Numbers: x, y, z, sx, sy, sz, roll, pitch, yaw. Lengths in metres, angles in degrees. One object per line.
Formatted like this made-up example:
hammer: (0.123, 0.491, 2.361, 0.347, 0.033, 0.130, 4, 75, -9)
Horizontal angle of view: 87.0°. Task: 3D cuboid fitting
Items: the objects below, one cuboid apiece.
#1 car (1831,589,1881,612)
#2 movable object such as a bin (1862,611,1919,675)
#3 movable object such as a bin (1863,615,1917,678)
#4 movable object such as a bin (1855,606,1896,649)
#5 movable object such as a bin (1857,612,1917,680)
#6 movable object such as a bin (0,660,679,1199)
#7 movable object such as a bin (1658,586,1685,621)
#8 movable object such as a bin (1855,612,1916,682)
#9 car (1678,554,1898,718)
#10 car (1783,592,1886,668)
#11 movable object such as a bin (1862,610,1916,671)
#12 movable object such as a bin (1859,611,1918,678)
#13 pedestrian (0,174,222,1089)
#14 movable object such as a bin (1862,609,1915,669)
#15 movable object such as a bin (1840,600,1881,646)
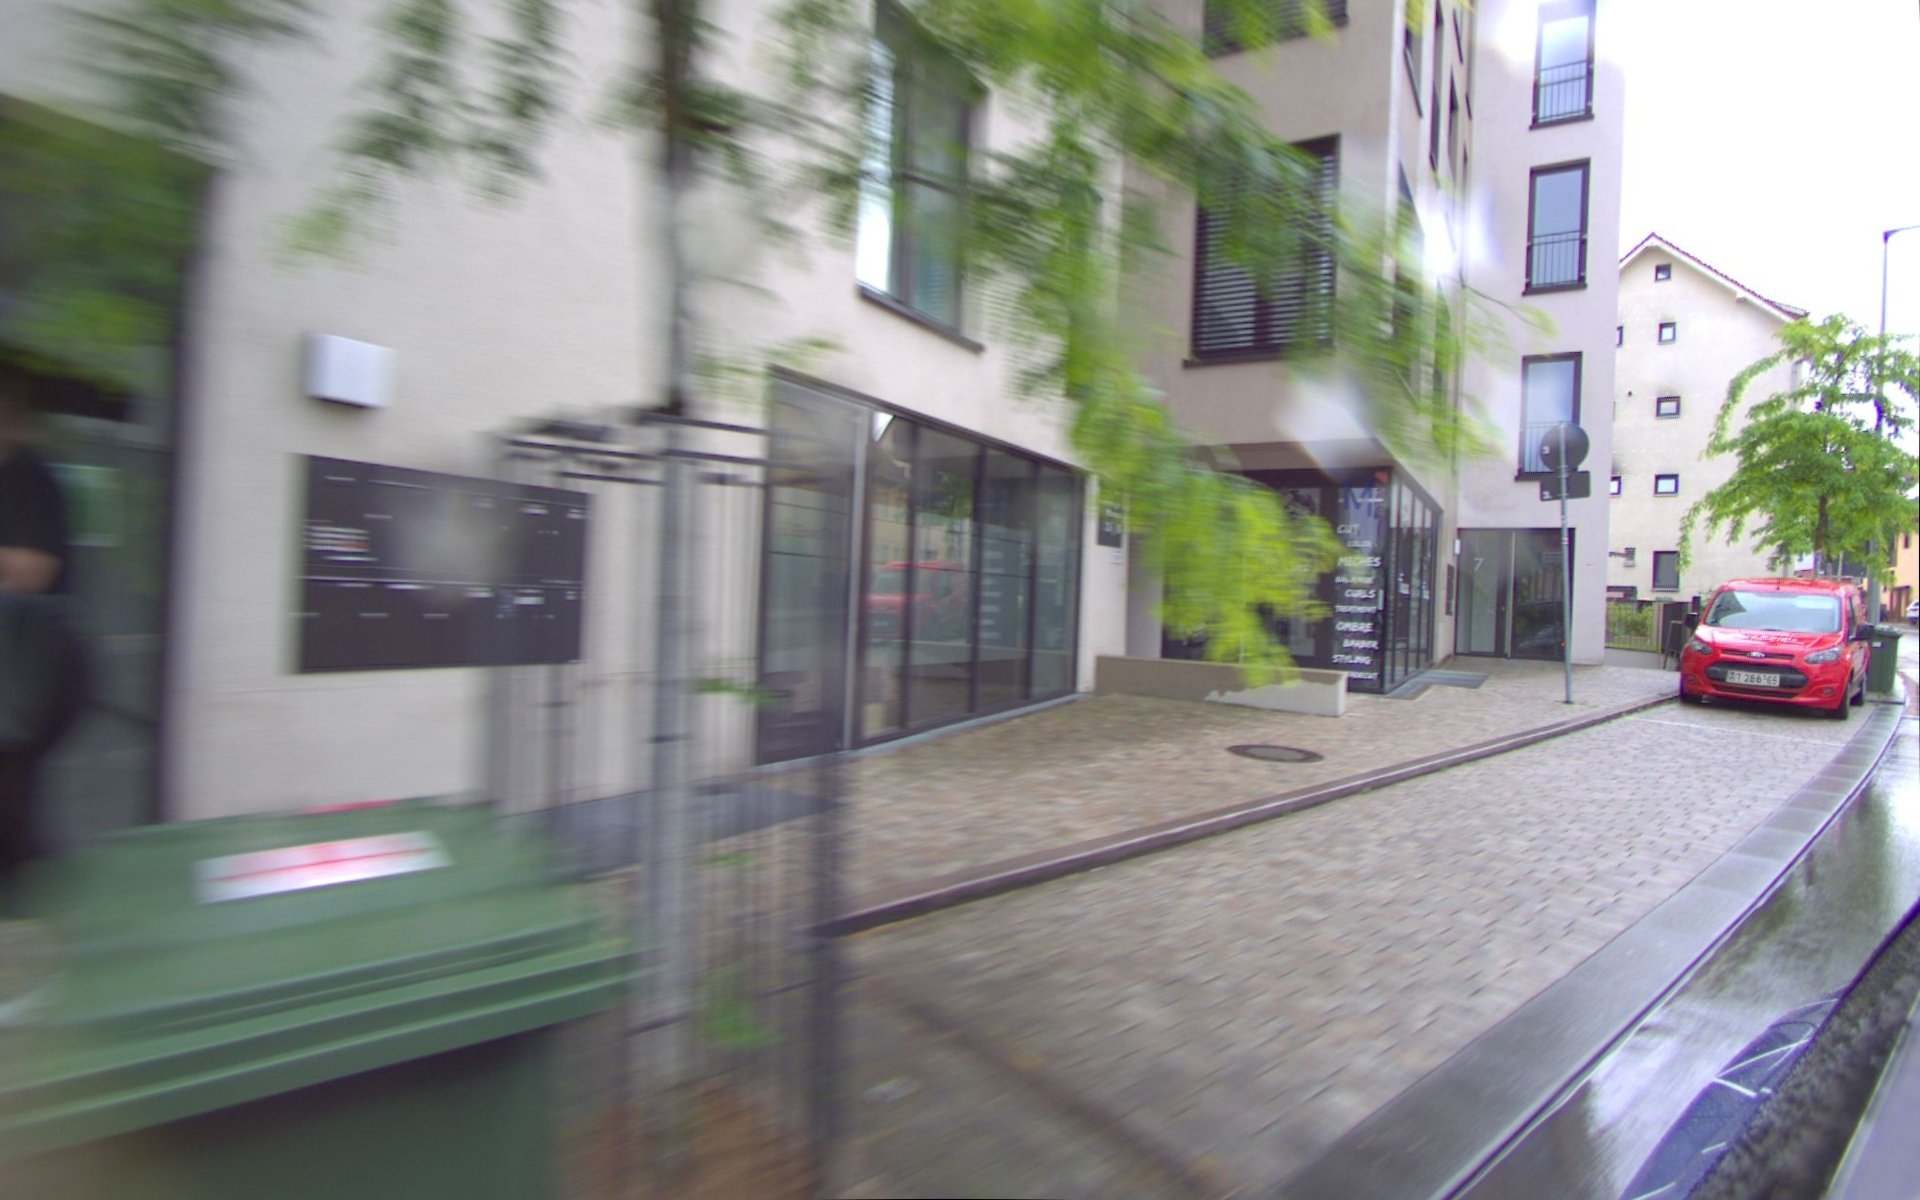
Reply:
car: (64.003, 0.012, 72.355, 1.984, 1.463, 3.956, 1, 1, 31)
movable object such as a bin: (16.936, 0.763, 18.432, 0.709, 1.101, 0.592, 3, 2, 42)
movable object such as a bin: (17.313, 0.853, 18.856, 0.702, 1.101, 0.508, 3, 2, 42)
movable object such as a bin: (26.265, 0.773, 29.037, 0.760, 1.122, 0.798, 6, 4, 40)
movable object such as a bin: (15.954, 0.774, 17.415, 0.709, 1.101, 0.591, 3, 2, 45)
movable object such as a bin: (-0.798, 0.713, 1.269, 0.619, 1.185, 0.754, 0, 2, -36)
movable object such as a bin: (25.648, 0.114, 36.508, 0.579, 1.199, 0.715, 4, 4, 24)
movable object such as a bin: (15.510, 0.779, 16.958, 0.709, 1.101, 0.591, 3, 2, 45)
car: (11.876, 0.381, 14.393, 4.528, 1.930, 1.838, -1, 4, -44)
car: (20.291, 0.622, 23.444, 1.638, 1.544, 3.578, 3, 3, 43)
movable object such as a bin: (17.686, 0.752, 19.273, 0.709, 1.101, 0.592, 3, 2, 42)
movable object such as a bin: (16.365, 0.773, 17.842, 0.709, 1.101, 0.591, 3, 2, 45)
pedestrian: (-2.531, 0.067, 2.472, 1.065, 2.039, 0.867, 0, 1, -45)
movable object such as a bin: (18.090, 0.746, 19.730, 0.709, 1.101, 0.592, 3, 2, 42)
movable object such as a bin: (26.898, 0.684, 30.233, 0.795, 1.263, 1.225, 6, 4, 40)
